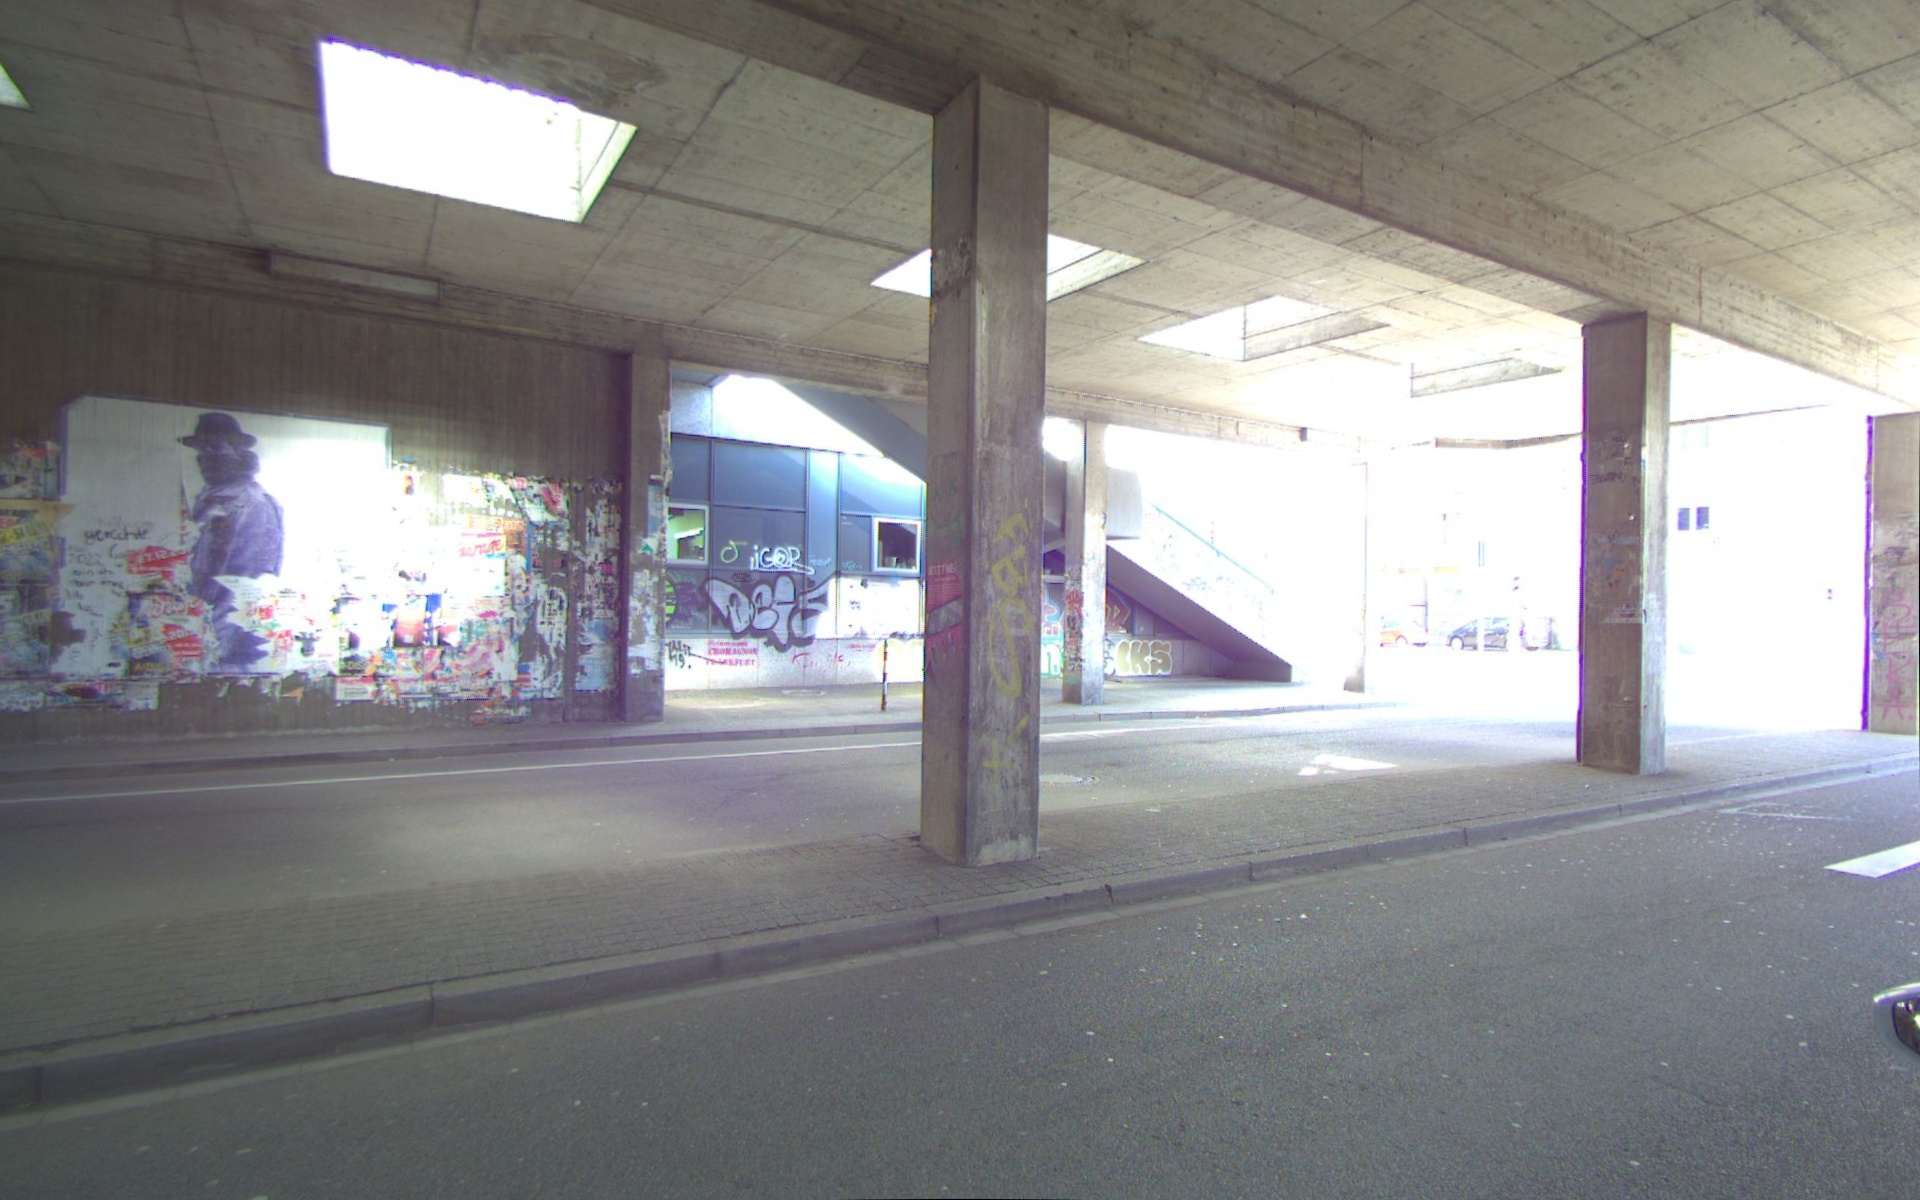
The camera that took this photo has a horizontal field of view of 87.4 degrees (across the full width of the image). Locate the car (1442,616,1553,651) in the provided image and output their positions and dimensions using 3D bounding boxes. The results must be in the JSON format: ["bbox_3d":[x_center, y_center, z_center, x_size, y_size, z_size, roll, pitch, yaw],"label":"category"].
[{"bbox_3d":[25.442,1.577,47.678,2.240,1.571,4.111,1,-1,-29],"label":"car"}]

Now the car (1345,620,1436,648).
[{"bbox_3d":[22.520,1.765,52.689,2.163,1.392,3.971,1,-1,-28],"label":"car"}]
